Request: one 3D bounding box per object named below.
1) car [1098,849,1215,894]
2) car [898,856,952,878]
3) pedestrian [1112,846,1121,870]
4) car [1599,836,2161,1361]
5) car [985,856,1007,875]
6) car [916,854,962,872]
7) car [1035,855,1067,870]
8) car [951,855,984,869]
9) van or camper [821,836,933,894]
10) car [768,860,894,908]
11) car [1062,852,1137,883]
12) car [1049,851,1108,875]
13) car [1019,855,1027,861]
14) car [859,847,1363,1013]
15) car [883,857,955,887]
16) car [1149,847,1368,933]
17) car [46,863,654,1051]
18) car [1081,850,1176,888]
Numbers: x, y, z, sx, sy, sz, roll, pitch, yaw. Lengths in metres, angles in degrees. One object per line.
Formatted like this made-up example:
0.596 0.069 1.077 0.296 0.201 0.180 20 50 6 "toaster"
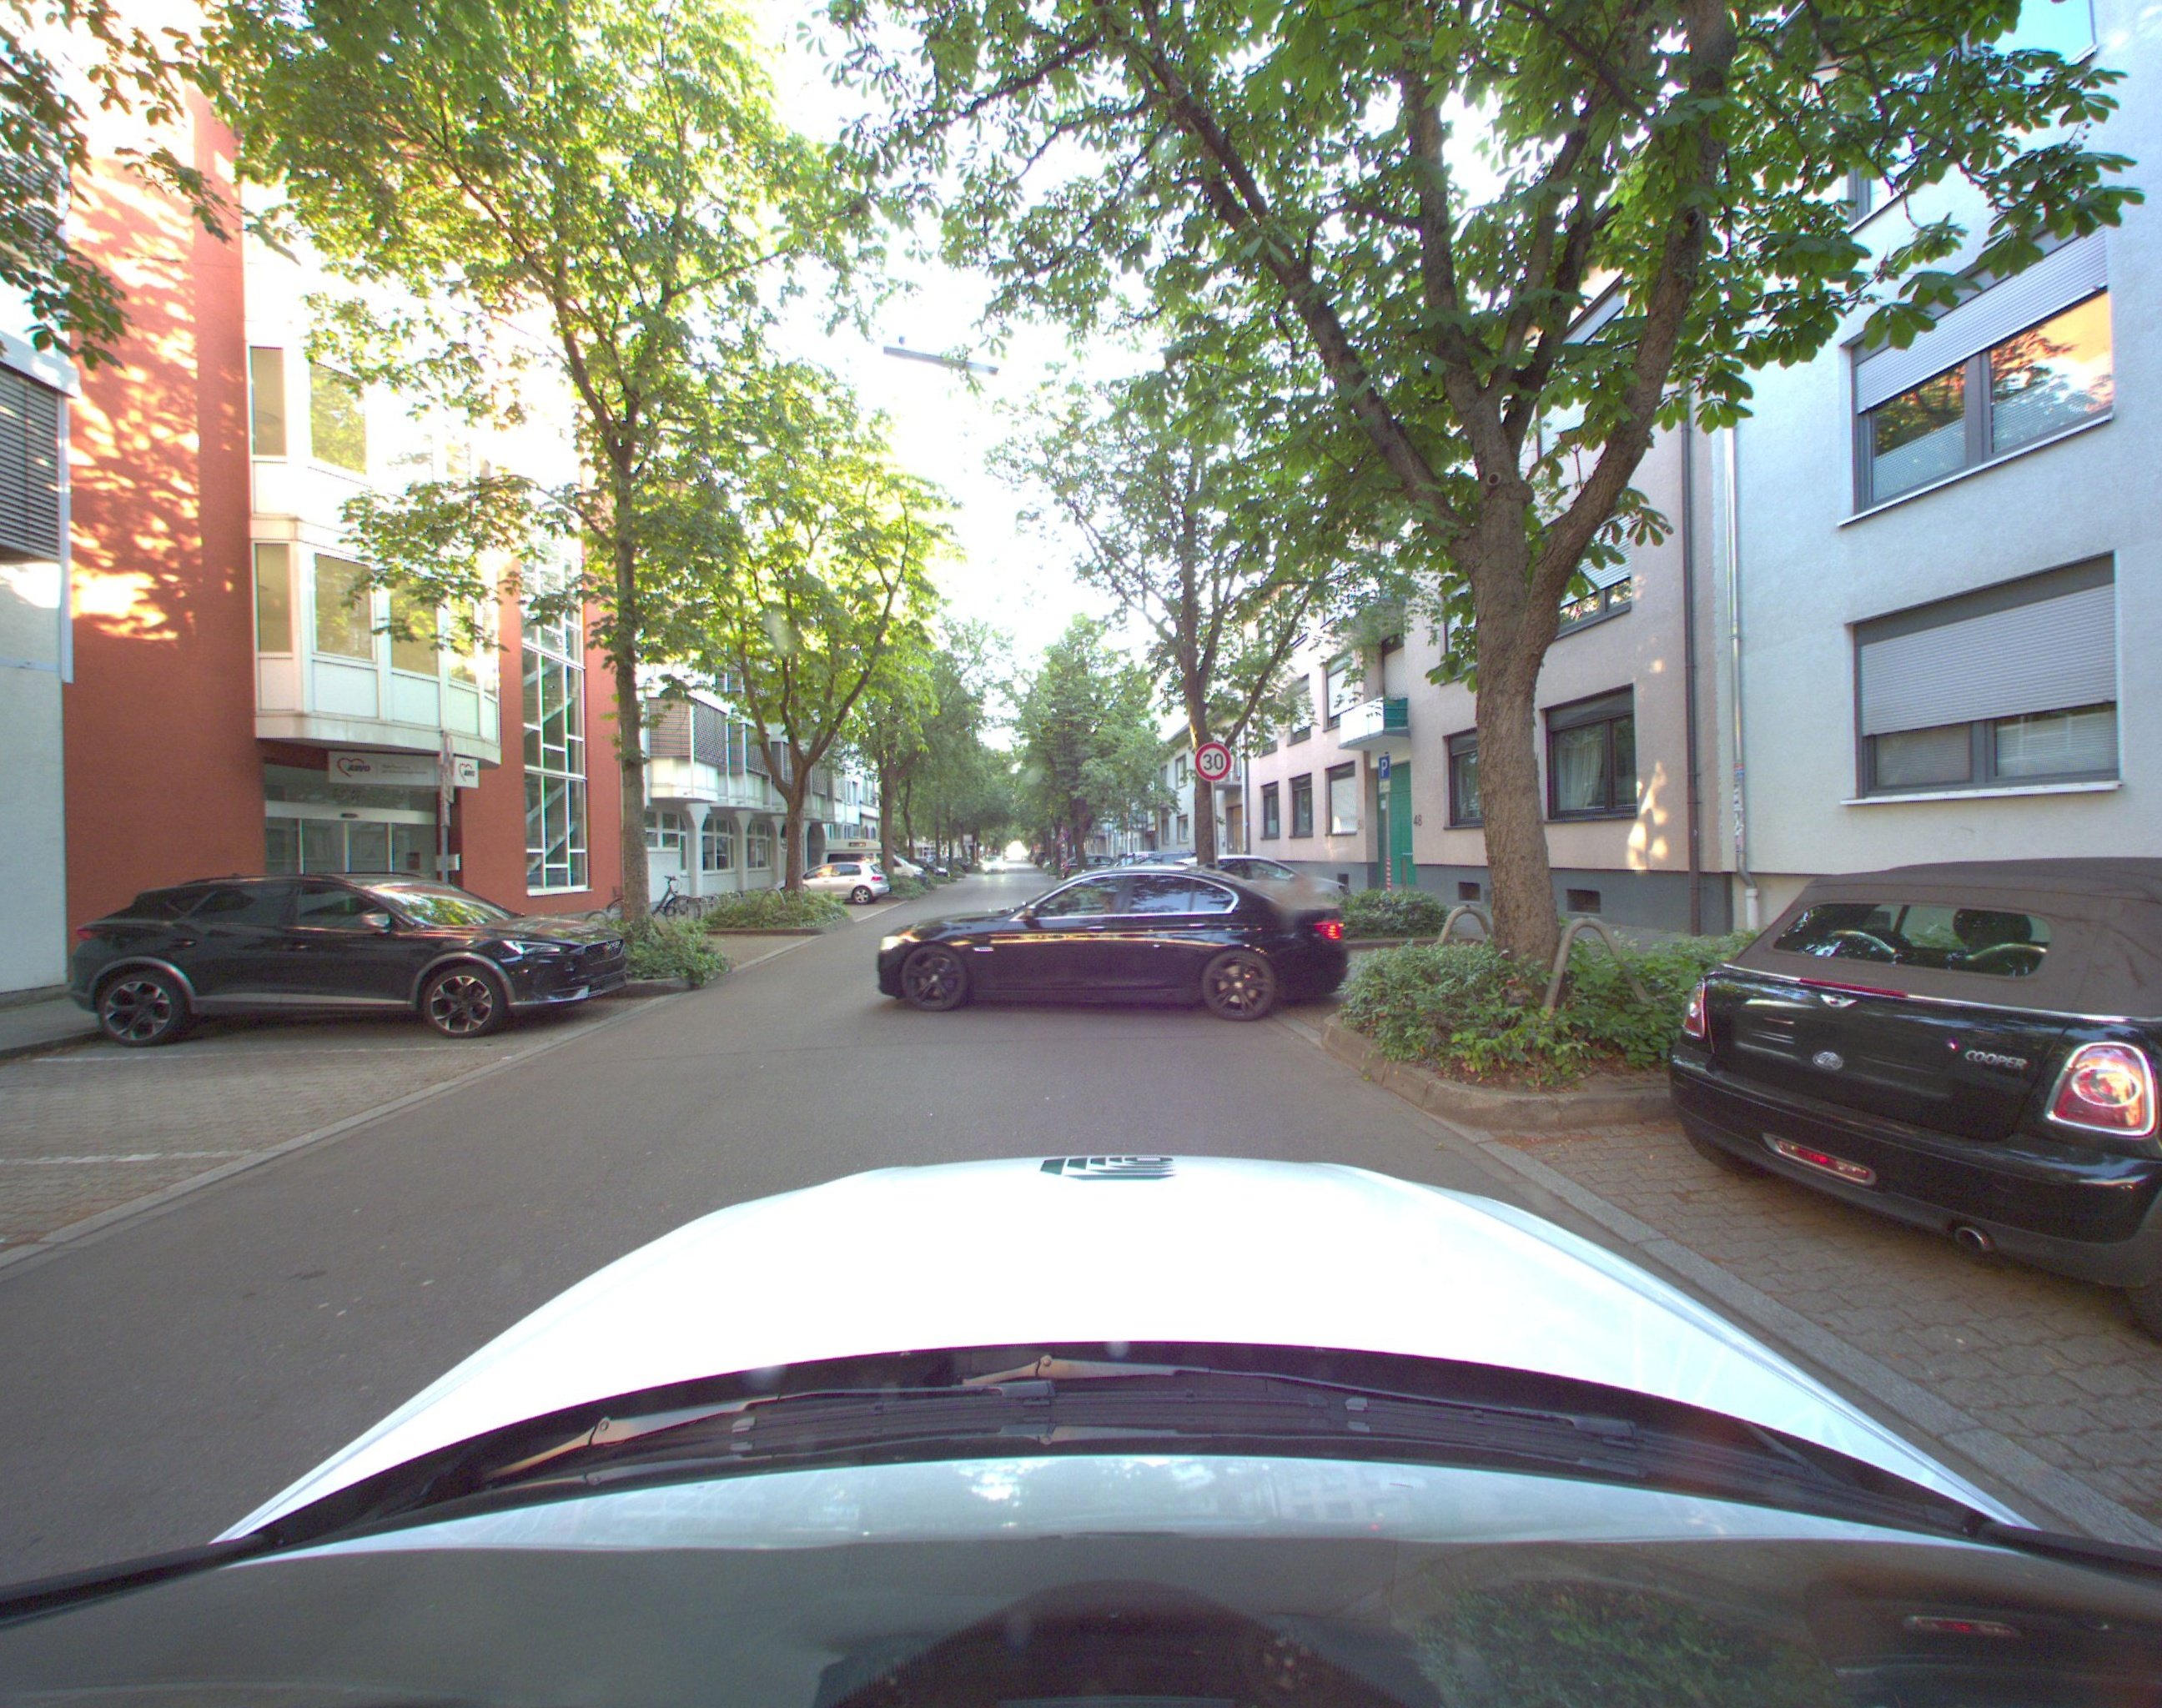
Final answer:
2.712 0.617 29.753 3.963 1.476 1.781 -2 0 -7 "car"
-12.396 1.048 64.971 3.959 1.619 1.783 -2 0 -4 "car"
2.928 0.336 67.225 0.587 2.013 0.669 -1 0 -3 "pedestrian"
4.346 0.625 3.272 3.608 1.363 1.660 -2 0 -8 "car"
-7.538 0.989 72.340 1.775 1.562 4.162 -1 0 -4 "car"
-13.345 0.842 76.629 3.959 1.619 1.783 -2 0 -4 "car"
-3.723 1.026 101.057 3.959 1.684 1.783 -2 0 -4 "car"
-14.266 0.992 102.855 3.959 1.619 1.783 -2 0 -4 "car"
-9.292 0.470 37.422 4.656 2.478 1.997 -1 0 -5 "van or camper"
-8.847 1.036 29.088 3.960 1.517 1.783 -2 0 -4 "car"
1.018 0.725 45.087 3.962 1.527 1.782 -2 0 -5 "car"
-0.174 0.639 56.991 3.963 1.527 1.781 -2 0 -6 "car"
-14.613 1.072 205.363 1.819 1.530 3.995 -2 0 -4 "car"
0.316 0.735 8.524 4.717 1.480 1.805 -1 0 9 "car"
-9.593 1.027 48.425 3.960 1.619 1.783 -2 0 -4 "car"
3.431 0.664 16.121 3.904 1.476 1.661 -2 0 -7 "car"
-7.024 0.923 8.276 4.347 1.517 1.782 -2 0 -5 "car"
2.076 0.651 36.245 3.962 1.527 1.782 -2 0 -5 "car"
